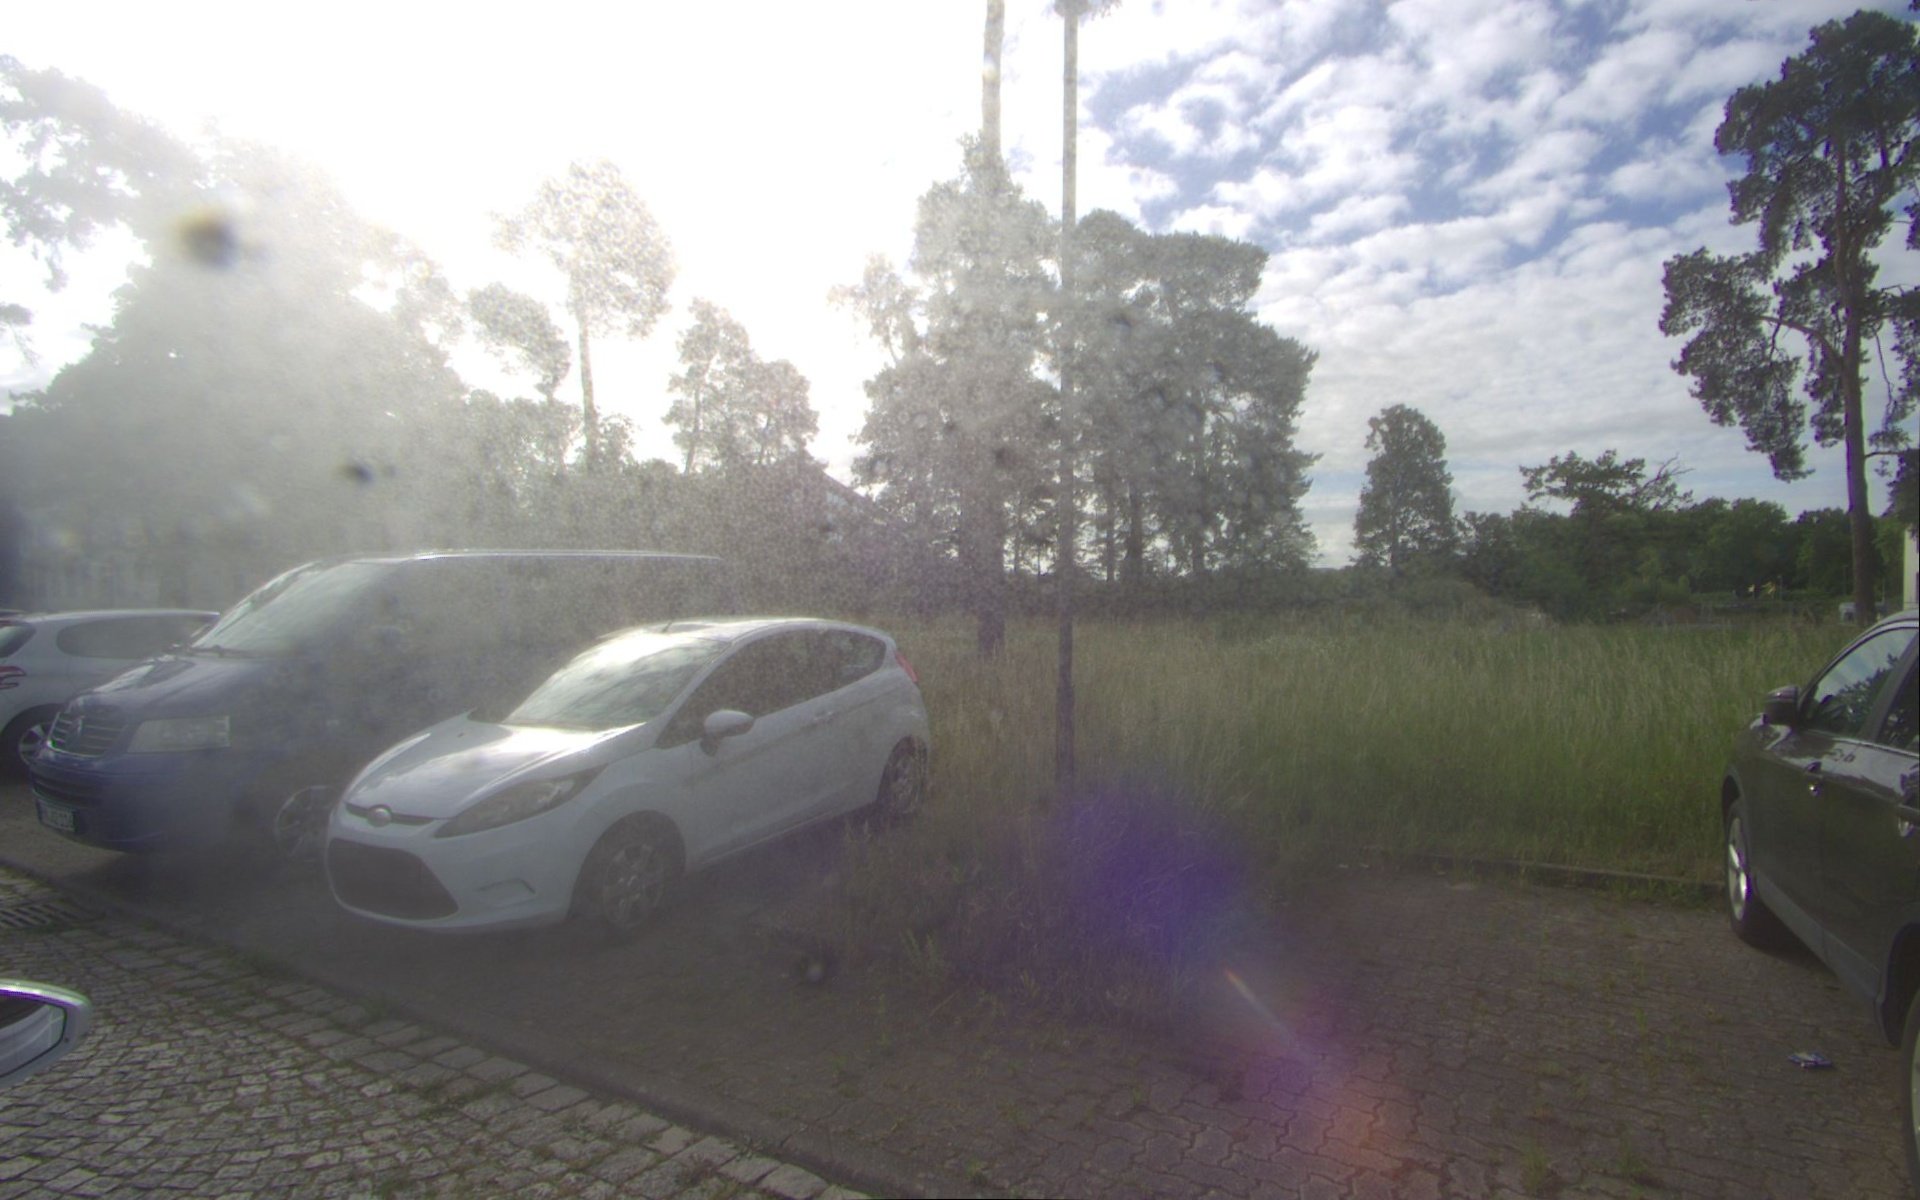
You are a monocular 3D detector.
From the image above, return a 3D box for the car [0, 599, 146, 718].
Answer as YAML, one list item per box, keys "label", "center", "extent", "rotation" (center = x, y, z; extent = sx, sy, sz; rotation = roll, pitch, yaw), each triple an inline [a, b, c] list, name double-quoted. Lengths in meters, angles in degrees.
- label: "car"
  center: [-13.115, 0.753, 13.241]
  extent: [1.635, 1.524, 3.296]
  rotation: [1, 0, 20]

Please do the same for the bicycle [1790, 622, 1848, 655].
- label: "bicycle"
  center: [39.234, 1.755, 45.748]
  extent: [1.906, 1.499, 0.652]
  rotation: [0, -1, 32]

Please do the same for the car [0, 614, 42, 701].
- label: "car"
  center: [-15.593, 0.862, 14.311]
  extent: [1.637, 1.284, 3.292]
  rotation: [1, 0, 25]

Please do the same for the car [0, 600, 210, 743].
- label: "car"
  center: [-10.936, 0.765, 11.357]
  extent: [1.635, 1.526, 3.602]
  rotation: [1, 0, 20]

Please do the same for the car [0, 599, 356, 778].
- label: "car"
  center: [-8.257, 0.768, 10.166]
  extent: [1.638, 1.524, 3.289]
  rotation: [1, 0, 29]

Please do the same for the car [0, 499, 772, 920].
- label: "car"
  center: [-3.626, 0.560, 7.416]
  extent: [1.712, 2.067, 4.776]
  rotation: [1, 0, 30]

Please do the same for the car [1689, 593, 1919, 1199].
- label: "car"
  center: [3.630, 0.802, 3.027]
  extent: [1.734, 1.601, 3.948]
  rotation: [1, 0, 28]

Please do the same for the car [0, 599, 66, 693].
- label: "car"
  center: [-17.164, 0.742, 15.998]
  extent: [1.637, 1.564, 3.987]
  rotation: [1, 0, 25]

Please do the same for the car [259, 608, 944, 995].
- label: "car"
  center: [-1.710, 0.816, 5.982]
  extent: [1.629, 1.443, 3.718]
  rotation: [1, 1, 28]

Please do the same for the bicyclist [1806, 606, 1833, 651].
- label: "bicyclist"
  center: [39.237, 1.313, 45.745]
  extent: [0.836, 2.039, 0.656]
  rotation: [0, -1, 32]
